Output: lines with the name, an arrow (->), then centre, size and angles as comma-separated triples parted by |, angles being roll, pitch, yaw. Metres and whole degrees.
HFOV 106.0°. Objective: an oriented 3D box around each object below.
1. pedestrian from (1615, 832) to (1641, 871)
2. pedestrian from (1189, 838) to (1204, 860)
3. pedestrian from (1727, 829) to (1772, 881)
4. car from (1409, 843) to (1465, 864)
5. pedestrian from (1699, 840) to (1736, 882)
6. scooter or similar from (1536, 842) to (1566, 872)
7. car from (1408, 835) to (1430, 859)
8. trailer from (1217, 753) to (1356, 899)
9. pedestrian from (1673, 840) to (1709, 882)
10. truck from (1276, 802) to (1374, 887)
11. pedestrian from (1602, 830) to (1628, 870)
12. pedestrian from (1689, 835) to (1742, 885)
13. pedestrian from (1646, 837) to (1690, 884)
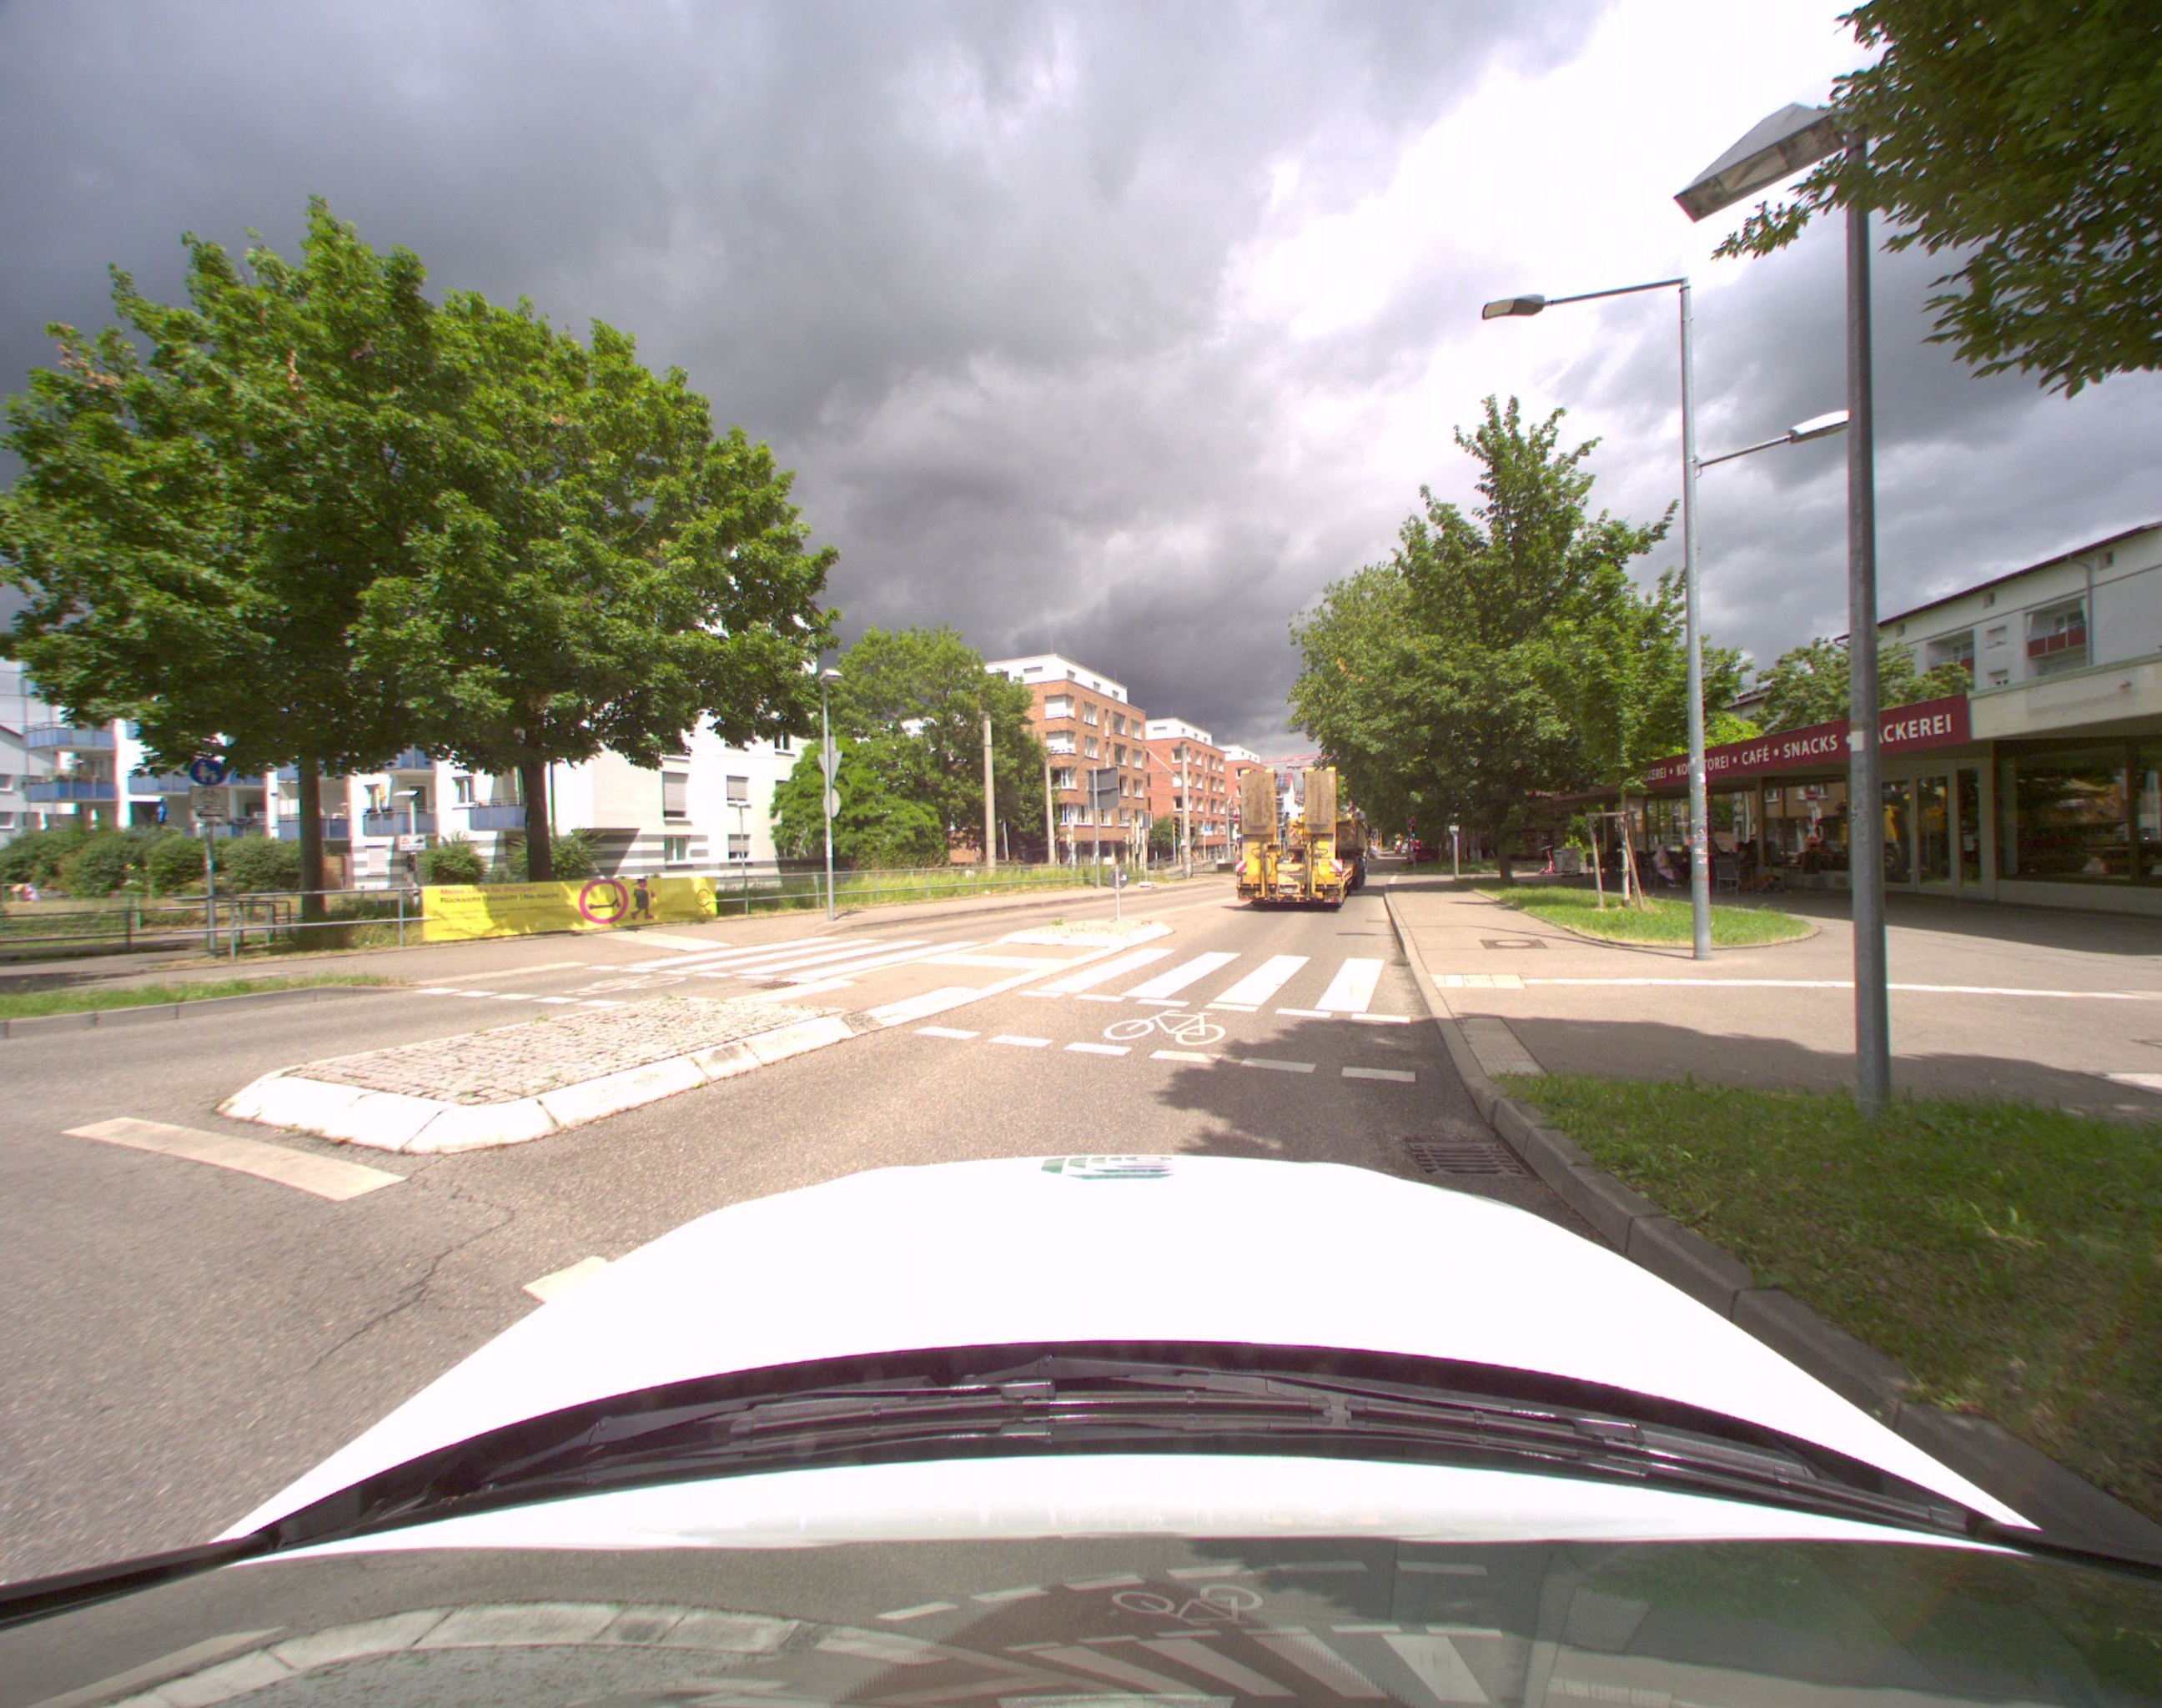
pedestrian -> 21.603, -0.107, 32.180 | 0.691, 1.488, 0.560 | -2, 0, 17
pedestrian -> 11.115, -0.490, 78.346 | 1.126, 2.013, 1.004 | -2, 0, 29
pedestrian -> 18.366, 0.035, 22.387 | 0.712, 1.380, 0.702 | -2, 0, 20
car -> 27.771, -0.070, 63.574 | 3.951, 1.511, 2.012 | 0, 3, 25
pedestrian -> 18.533, 0.193, 23.727 | 0.711, 1.201, 0.703 | -2, 0, 27
scooter or similar -> 21.003, 0.129, 36.367 | 1.740, 1.226, 0.513 | -3, 1, -38
car -> 41.045, -0.889, 98.807 | 1.975, 2.827, 5.145 | 3, 2, 26
trailer -> 6.667, -0.701, 24.859 | 2.839, 3.372, 10.896 | -3, 0, 20
pedestrian -> 18.034, 0.201, 24.081 | 0.711, 1.201, 0.703 | -2, 0, 27
truck -> 10.398, -0.364, 34.010 | 2.961, 3.035, 8.532 | -2, 0, 22
pedestrian -> 21.506, -0.172, 32.811 | 0.691, 1.573, 0.560 | -2, 0, 17
pedestrian -> 17.529, 0.162, 22.523 | 0.871, 1.324, 0.826 | -2, 2, 13
pedestrian -> 17.007, 0.197, 23.605 | 0.870, 1.325, 0.614 | -2, 0, 21
